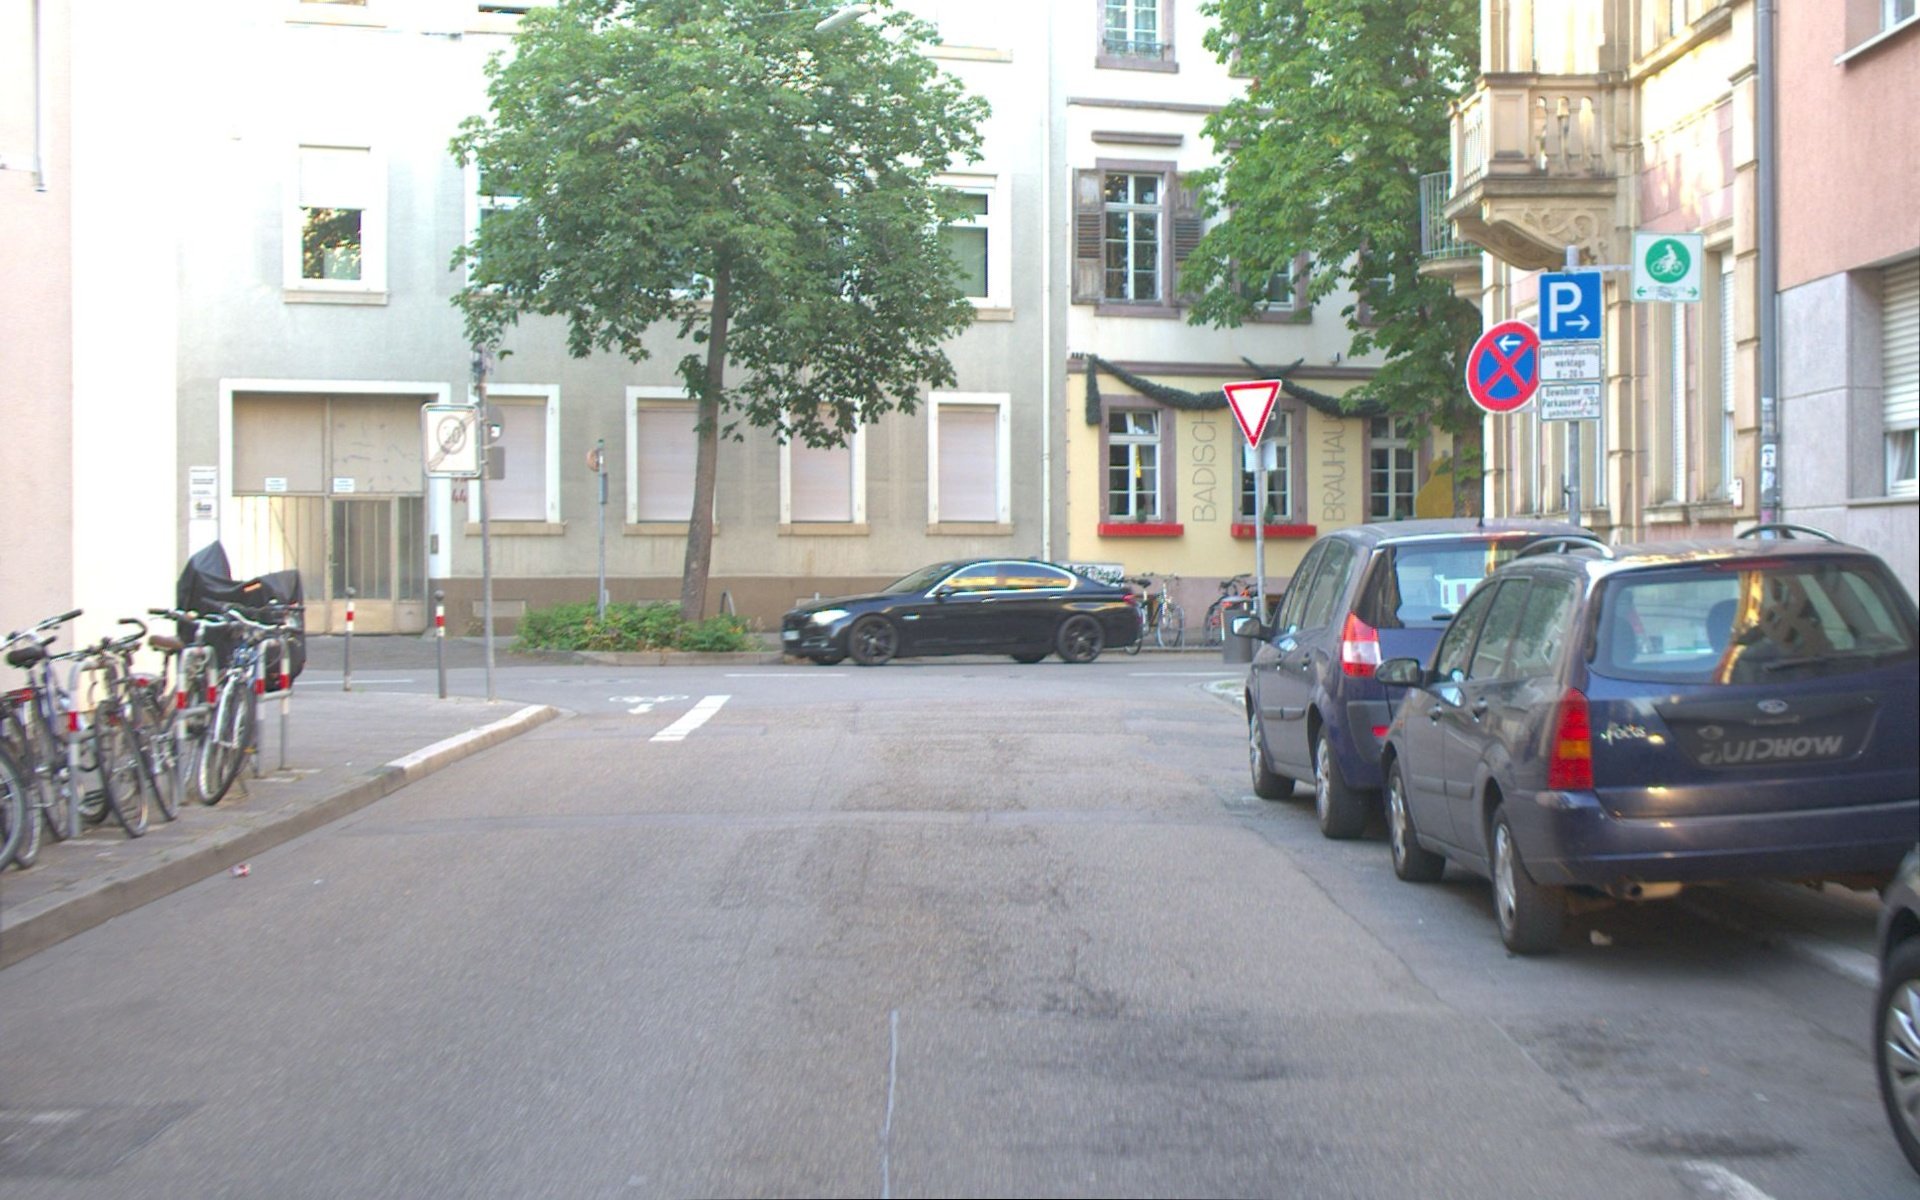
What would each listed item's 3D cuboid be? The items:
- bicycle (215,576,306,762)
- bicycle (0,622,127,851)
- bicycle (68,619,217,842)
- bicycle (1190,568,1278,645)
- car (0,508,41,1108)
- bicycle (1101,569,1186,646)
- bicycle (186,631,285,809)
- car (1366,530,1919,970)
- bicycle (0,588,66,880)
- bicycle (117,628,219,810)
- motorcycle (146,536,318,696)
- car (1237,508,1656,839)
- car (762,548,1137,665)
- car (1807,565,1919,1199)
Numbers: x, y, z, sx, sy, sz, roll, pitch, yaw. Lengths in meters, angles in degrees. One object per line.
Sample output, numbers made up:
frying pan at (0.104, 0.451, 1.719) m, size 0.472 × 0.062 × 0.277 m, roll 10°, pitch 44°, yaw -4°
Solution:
bicycle at (-4.396, 0.411, 21.675) m, size 0.400 × 1.098 × 1.813 m, roll 0°, pitch 1°, yaw -6°
bicycle at (-4.542, 0.650, 17.171) m, size 0.307 × 1.039 × 1.813 m, roll 0°, pitch 1°, yaw 1°
bicycle at (-4.159, 0.639, 17.572) m, size 0.307 × 1.039 × 1.813 m, roll 0°, pitch 1°, yaw 1°
bicycle at (4.130, 0.090, 51.935) m, size 0.420 × 1.141 × 2.043 m, roll -1°, pitch 1°, yaw -23°
car at (-3.350, 0.575, 7.381) m, size 1.790 × 1.571 × 4.071 m, roll 0°, pitch 1°, yaw -2°
bicycle at (2.785, 0.100, 52.431) m, size 0.420 × 1.141 × 2.043 m, roll -1°, pitch 1°, yaw -23°
bicycle at (-4.159, 0.665, 19.791) m, size 0.307 × 0.929 × 1.813 m, roll 0°, pitch 1°, yaw -4°
car at (2.770, 0.479, 13.978) m, size 1.689 × 1.508 × 4.283 m, roll 0°, pitch 1°, yaw -1°
bicycle at (-4.210, 0.572, 14.653) m, size 0.307 × 1.218 × 1.813 m, roll 0°, pitch 1°, yaw 1°
bicycle at (-4.446, 0.646, 19.358) m, size 0.307 × 0.929 × 1.813 m, roll 0°, pitch 1°, yaw -5°
motorcycle at (-7.323, 0.148, 34.514) m, size 0.667 × 1.550 × 2.161 m, roll -1°, pitch 1°, yaw -43°
car at (2.548, 0.325, 18.879) m, size 1.689 × 1.619 × 4.055 m, roll 0°, pitch 1°, yaw -1°
car at (-0.134, 0.063, 45.768) m, size 4.651 × 1.445 × 1.768 m, roll -1°, pitch 1°, yaw -21°
car at (3.004, 0.671, 6.626) m, size 1.689 × 1.453 × 4.132 m, roll 0°, pitch 1°, yaw -1°
